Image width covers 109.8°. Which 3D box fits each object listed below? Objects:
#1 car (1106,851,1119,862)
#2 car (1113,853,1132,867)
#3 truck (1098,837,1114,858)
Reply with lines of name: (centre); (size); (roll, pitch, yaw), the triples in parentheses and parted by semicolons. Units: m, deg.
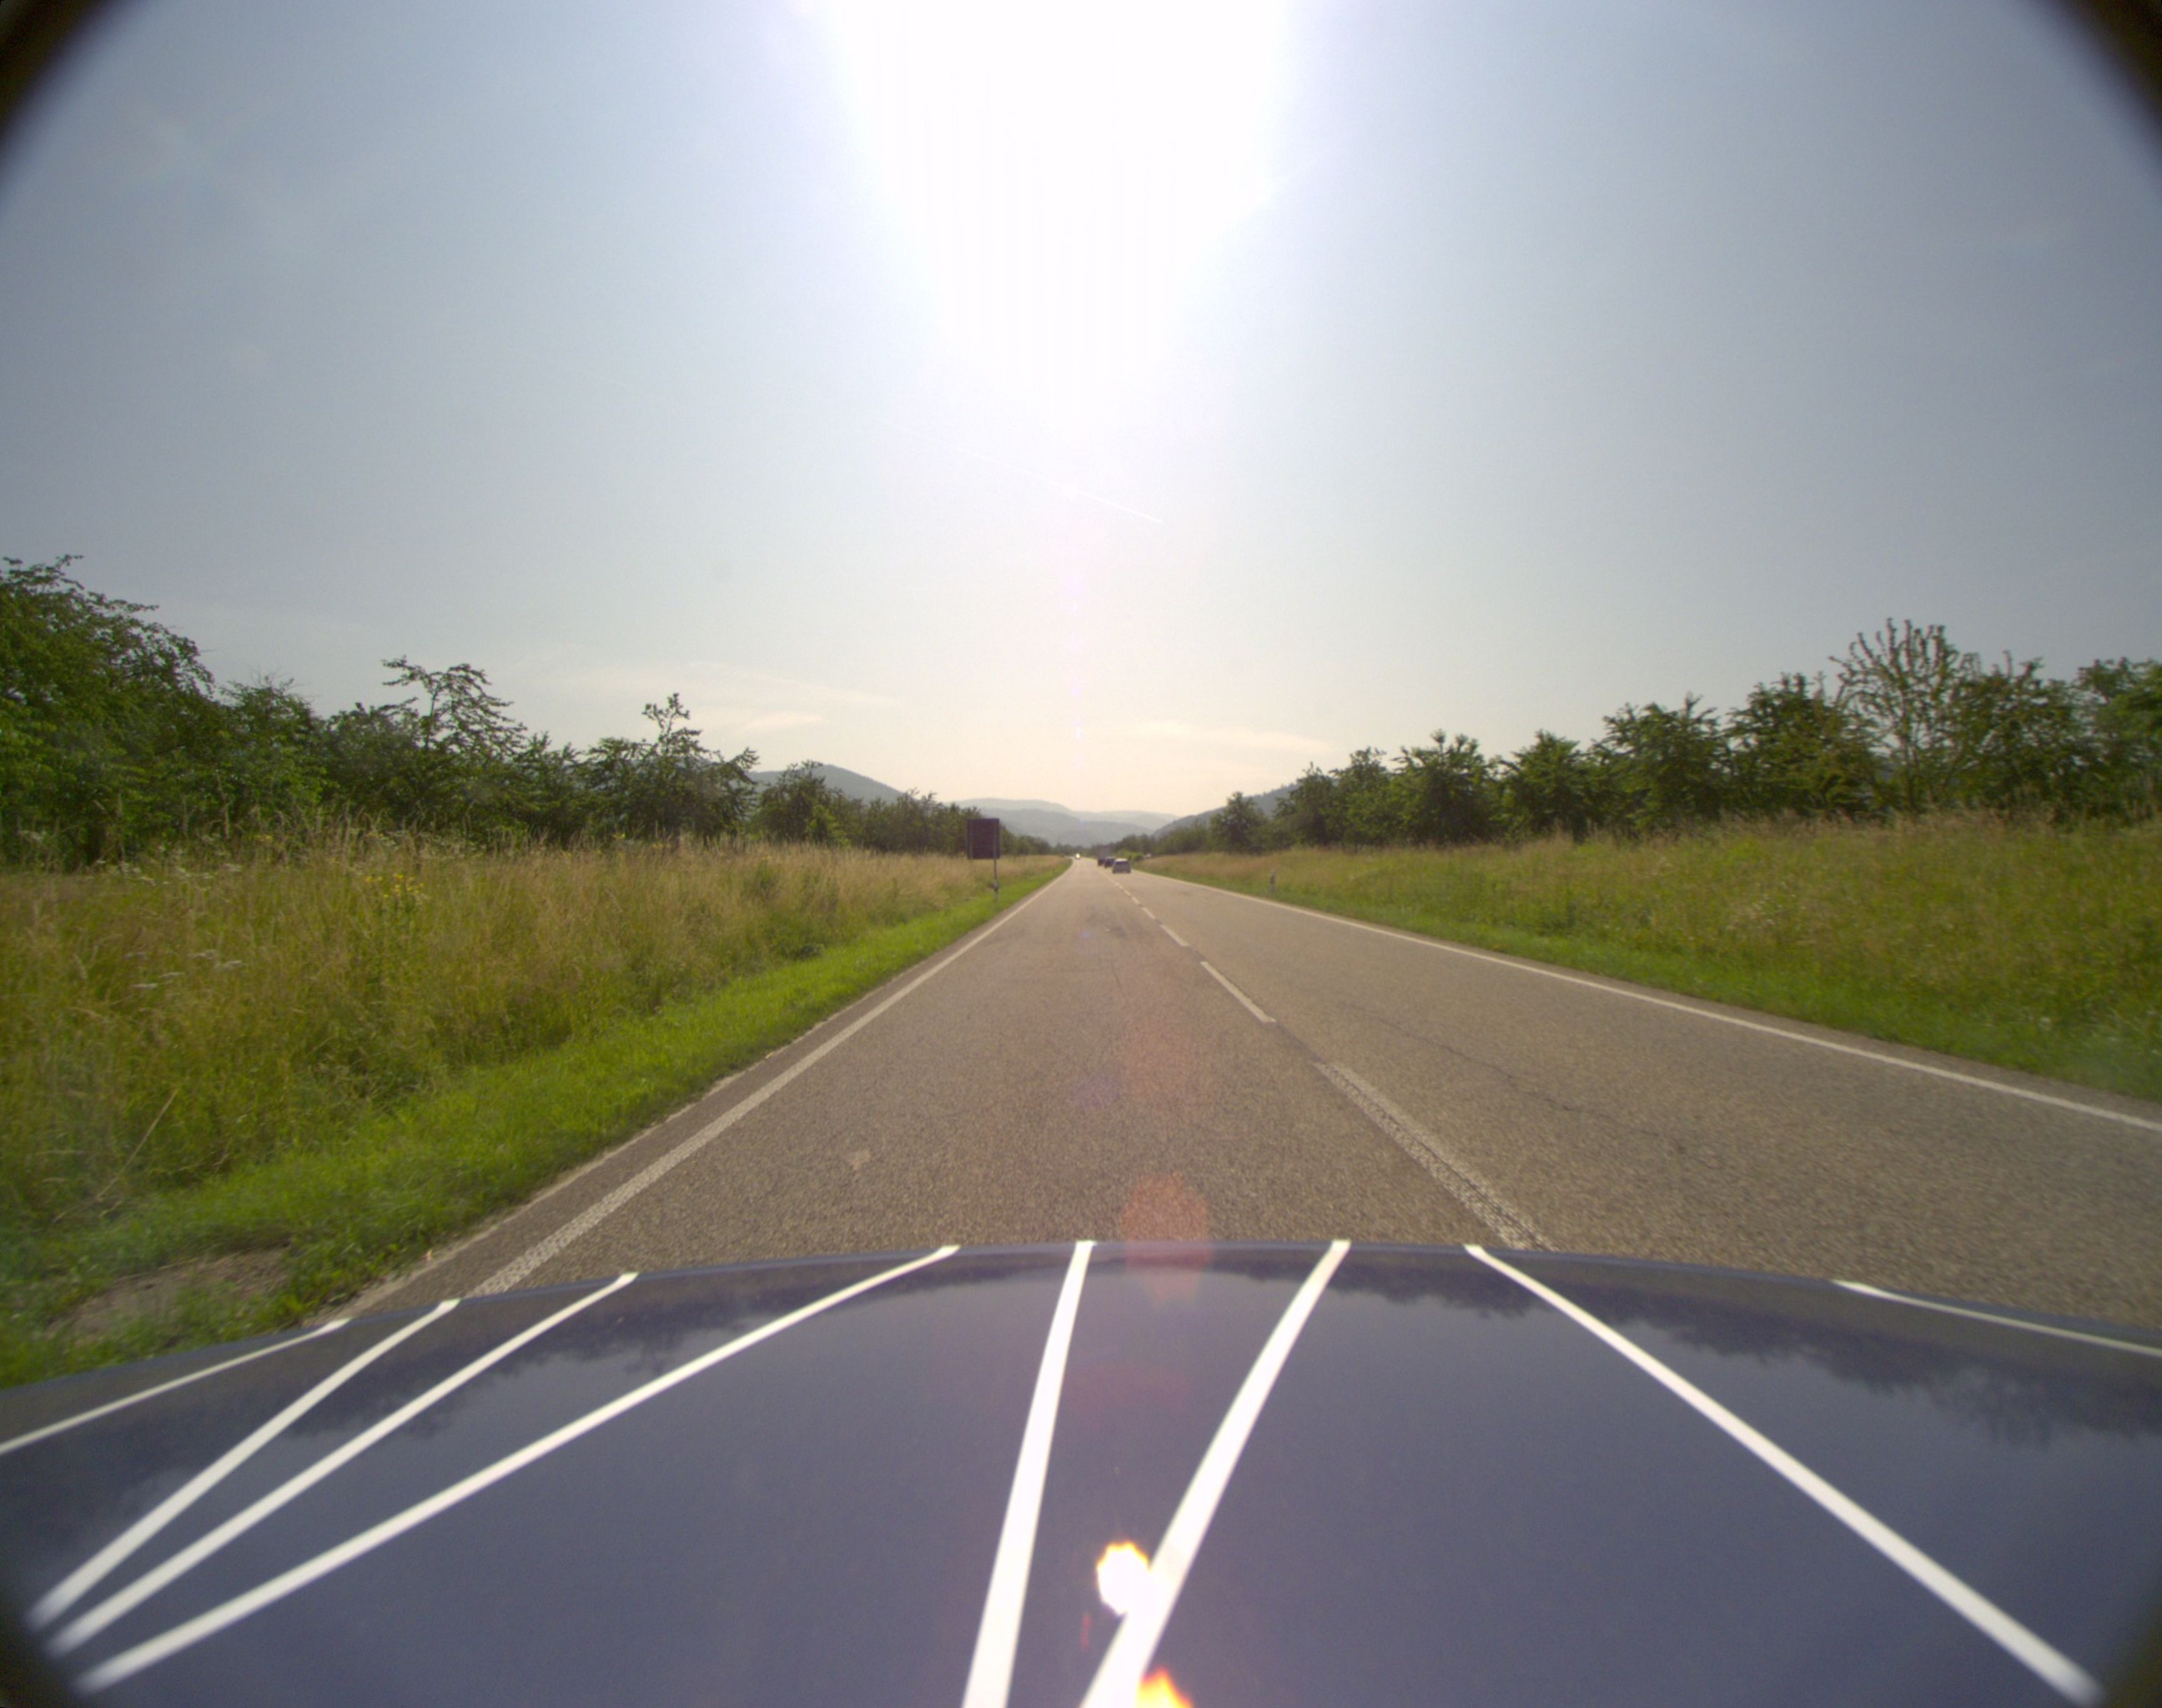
car: (4.695, 0.366, 113.065); (1.840, 1.668, 4.411); (-1, 0, 2)
car: (4.235, 0.596, 78.070); (1.694, 1.400, 4.894); (-1, 0, 0)
truck: (4.795, -1.289, 145.319); (2.671, 3.816, 10.207); (-2, 0, 0)
